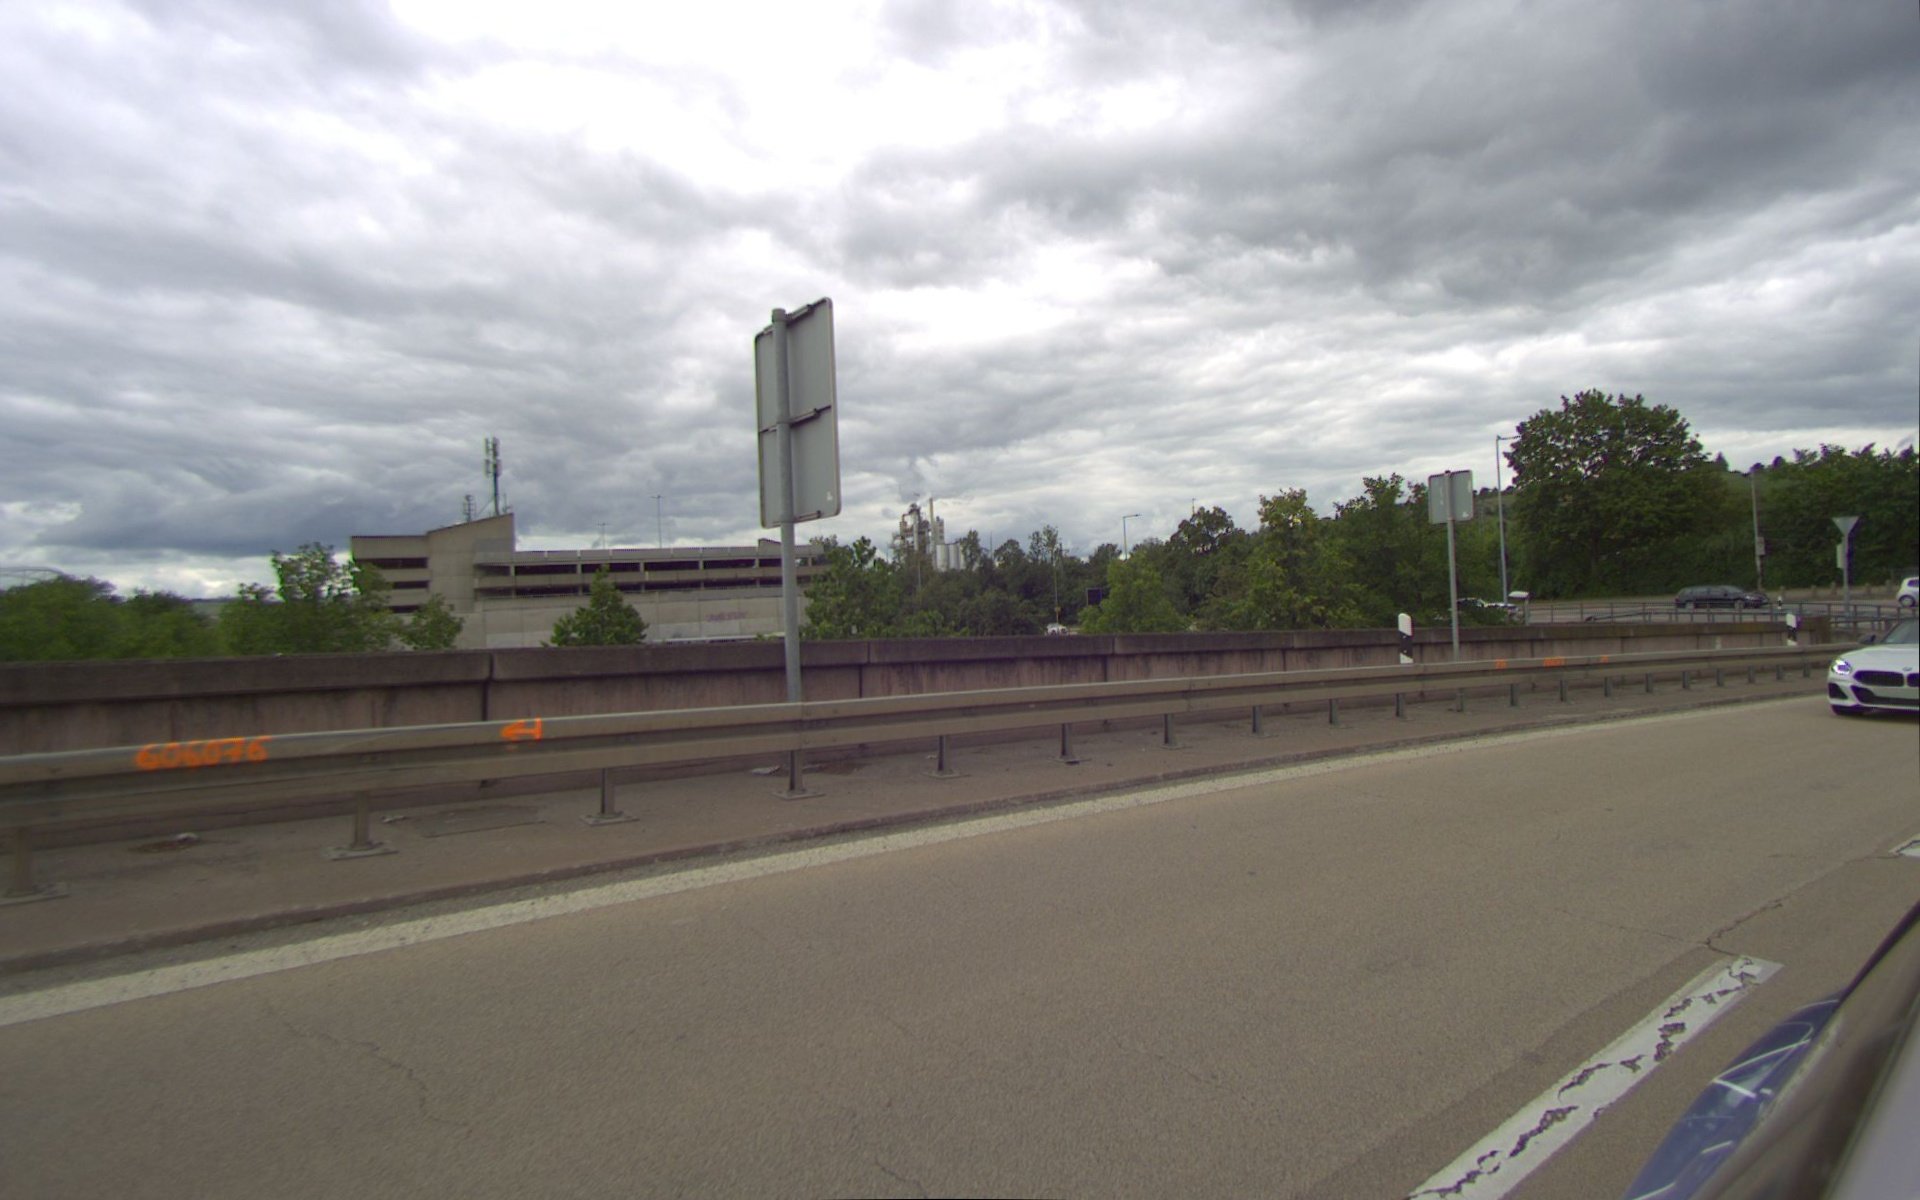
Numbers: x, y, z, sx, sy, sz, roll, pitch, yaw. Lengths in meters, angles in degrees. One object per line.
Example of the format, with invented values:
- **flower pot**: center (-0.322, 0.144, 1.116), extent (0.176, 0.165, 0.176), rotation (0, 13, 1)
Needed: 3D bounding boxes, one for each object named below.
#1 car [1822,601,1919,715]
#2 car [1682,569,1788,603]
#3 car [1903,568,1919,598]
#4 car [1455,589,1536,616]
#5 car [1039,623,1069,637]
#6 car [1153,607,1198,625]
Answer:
- **car**: center (13.410, 0.708, 13.306), extent (4.730, 1.362, 1.864), rotation (1, -2, -33)
- **car**: center (43.851, -0.754, 57.370), extent (1.909, 1.576, 4.300), rotation (-4, 0, -25)
- **car**: center (47.432, -0.906, 47.835), extent (1.595, 1.391, 3.754), rotation (-4, 0, -24)
- **car**: center (37.685, 0.198, 71.373), extent (1.841, 1.580, 4.719), rotation (-4, -1, -29)
- **car**: center (11.266, 3.664, 122.004), extent (1.619, 1.529, 3.600), rotation (-4, 0, -33)
- **car**: center (25.646, 1.909, 120.497), extent (2.092, 1.778, 5.498), rotation (-4, -1, -28)
